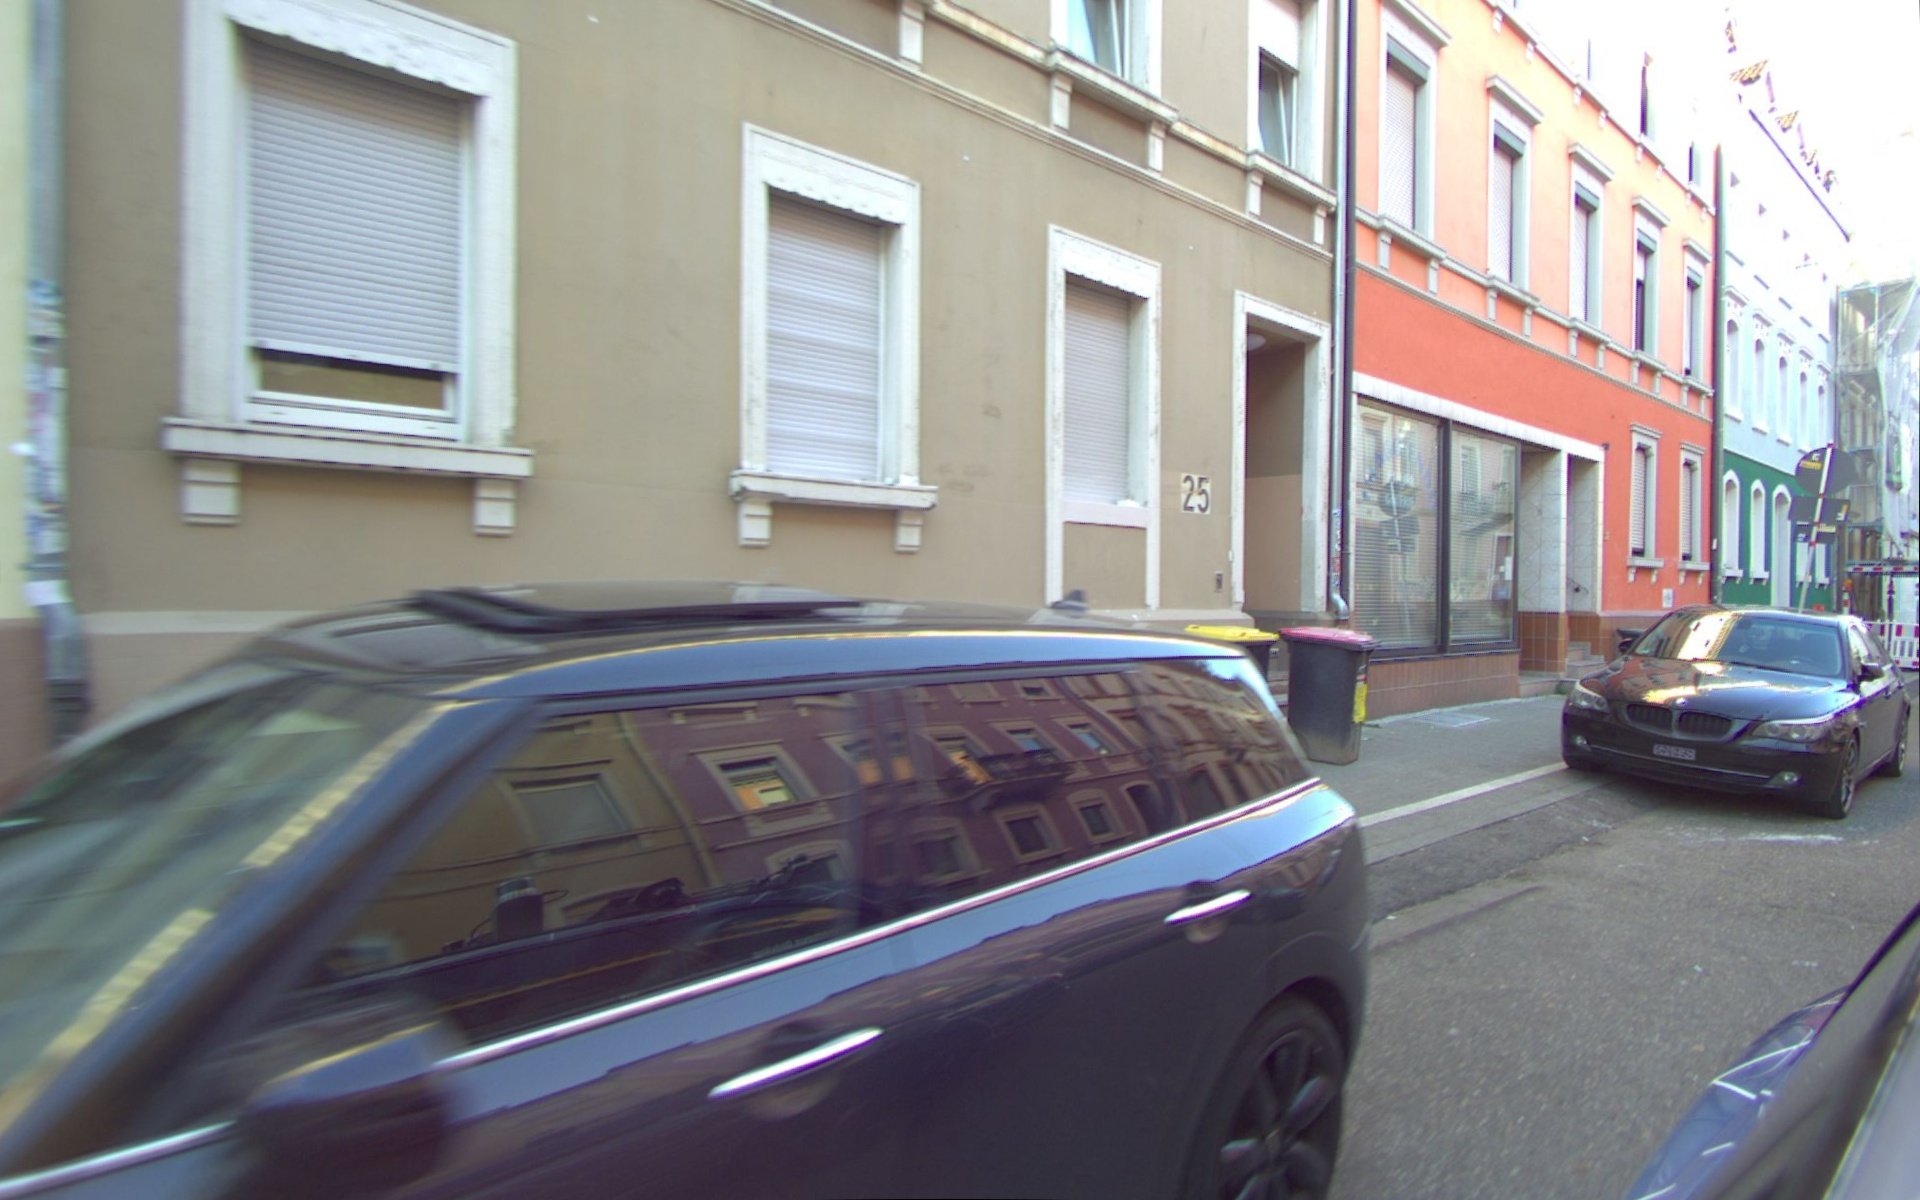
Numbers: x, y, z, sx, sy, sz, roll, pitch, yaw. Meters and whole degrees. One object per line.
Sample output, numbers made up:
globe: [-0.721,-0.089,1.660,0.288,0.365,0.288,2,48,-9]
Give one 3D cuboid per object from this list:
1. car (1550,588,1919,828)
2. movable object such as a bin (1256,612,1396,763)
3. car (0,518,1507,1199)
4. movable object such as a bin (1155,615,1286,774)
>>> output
car: [6.880,0.685,8.656,4.386,1.501,1.830,0,2,-41]
movable object such as a bin: [3.048,0.692,8.433,0.889,1.122,0.633,4,2,40]
car: [-0.695,0.698,2.040,4.303,1.541,1.764,0,0,-41]
movable object such as a bin: [2.033,0.701,7.916,0.630,1.122,0.717,1,2,-40]
